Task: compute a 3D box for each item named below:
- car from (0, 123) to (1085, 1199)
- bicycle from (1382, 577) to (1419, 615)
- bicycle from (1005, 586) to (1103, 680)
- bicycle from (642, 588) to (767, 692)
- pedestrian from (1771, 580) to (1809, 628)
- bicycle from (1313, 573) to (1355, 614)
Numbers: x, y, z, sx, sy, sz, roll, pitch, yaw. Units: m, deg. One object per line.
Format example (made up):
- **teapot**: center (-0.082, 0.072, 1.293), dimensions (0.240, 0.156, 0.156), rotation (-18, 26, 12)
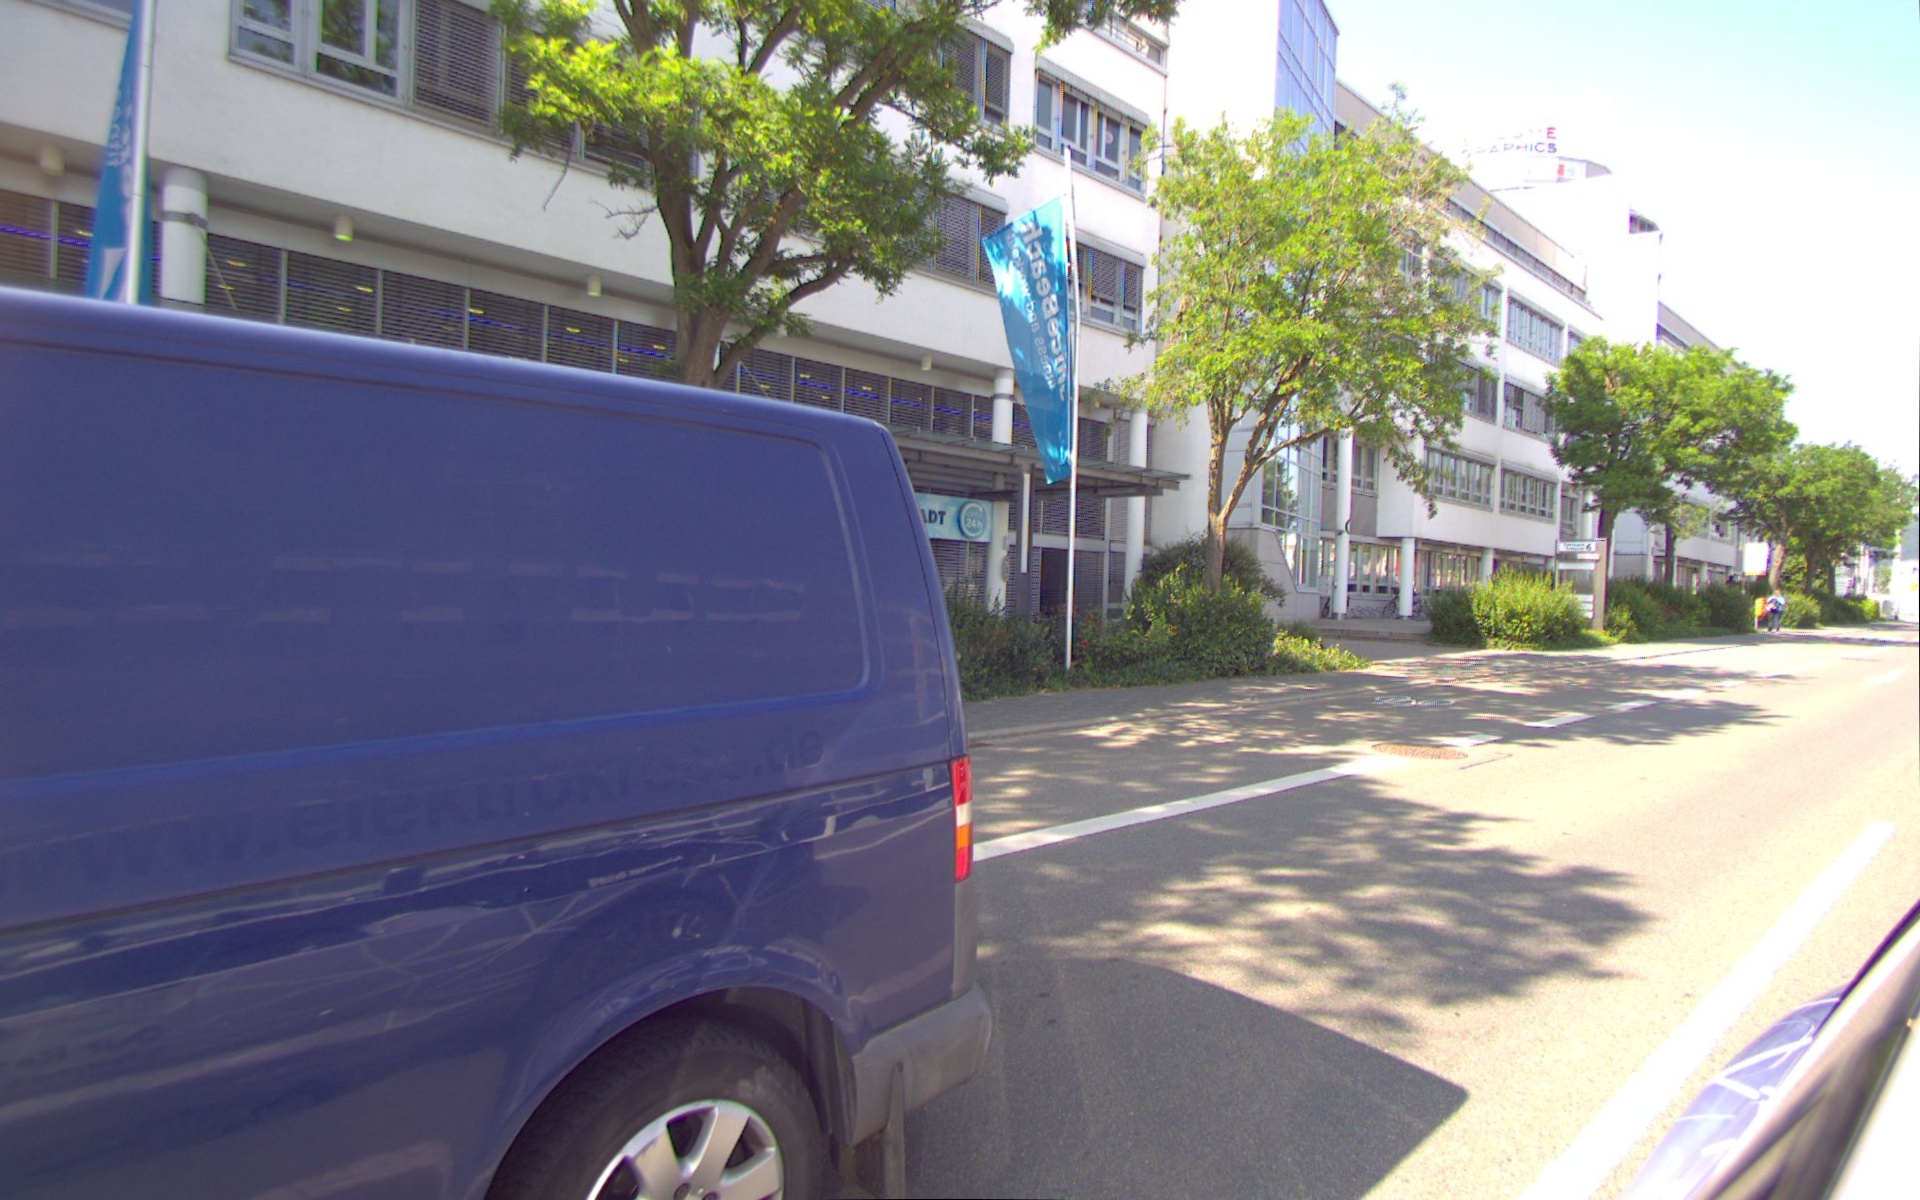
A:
- **car**: center (-2.167, 0.410, 1.601), dimensions (4.806, 1.972, 1.997), rotation (-1, 2, -41)
- **bicycle**: center (16.330, -0.146, 37.507), dimensions (1.852, 1.371, 0.506), rotation (0, 1, -41)
- **bicycle**: center (1.474, 0.479, 15.582), dimensions (0.504, 1.346, 1.856), rotation (2, 1, 41)
- **bicycle**: center (-3.646, 0.537, 14.370), dimensions (1.868, 1.346, 0.501), rotation (2, 1, 30)
- **pedestrian**: center (35.187, 0.159, 42.924), dimensions (1.267, 1.909, 0.942), rotation (0, 4, -41)
- **bicycle**: center (12.890, -0.214, 34.884), dimensions (1.852, 1.371, 0.506), rotation (0, 1, -41)
